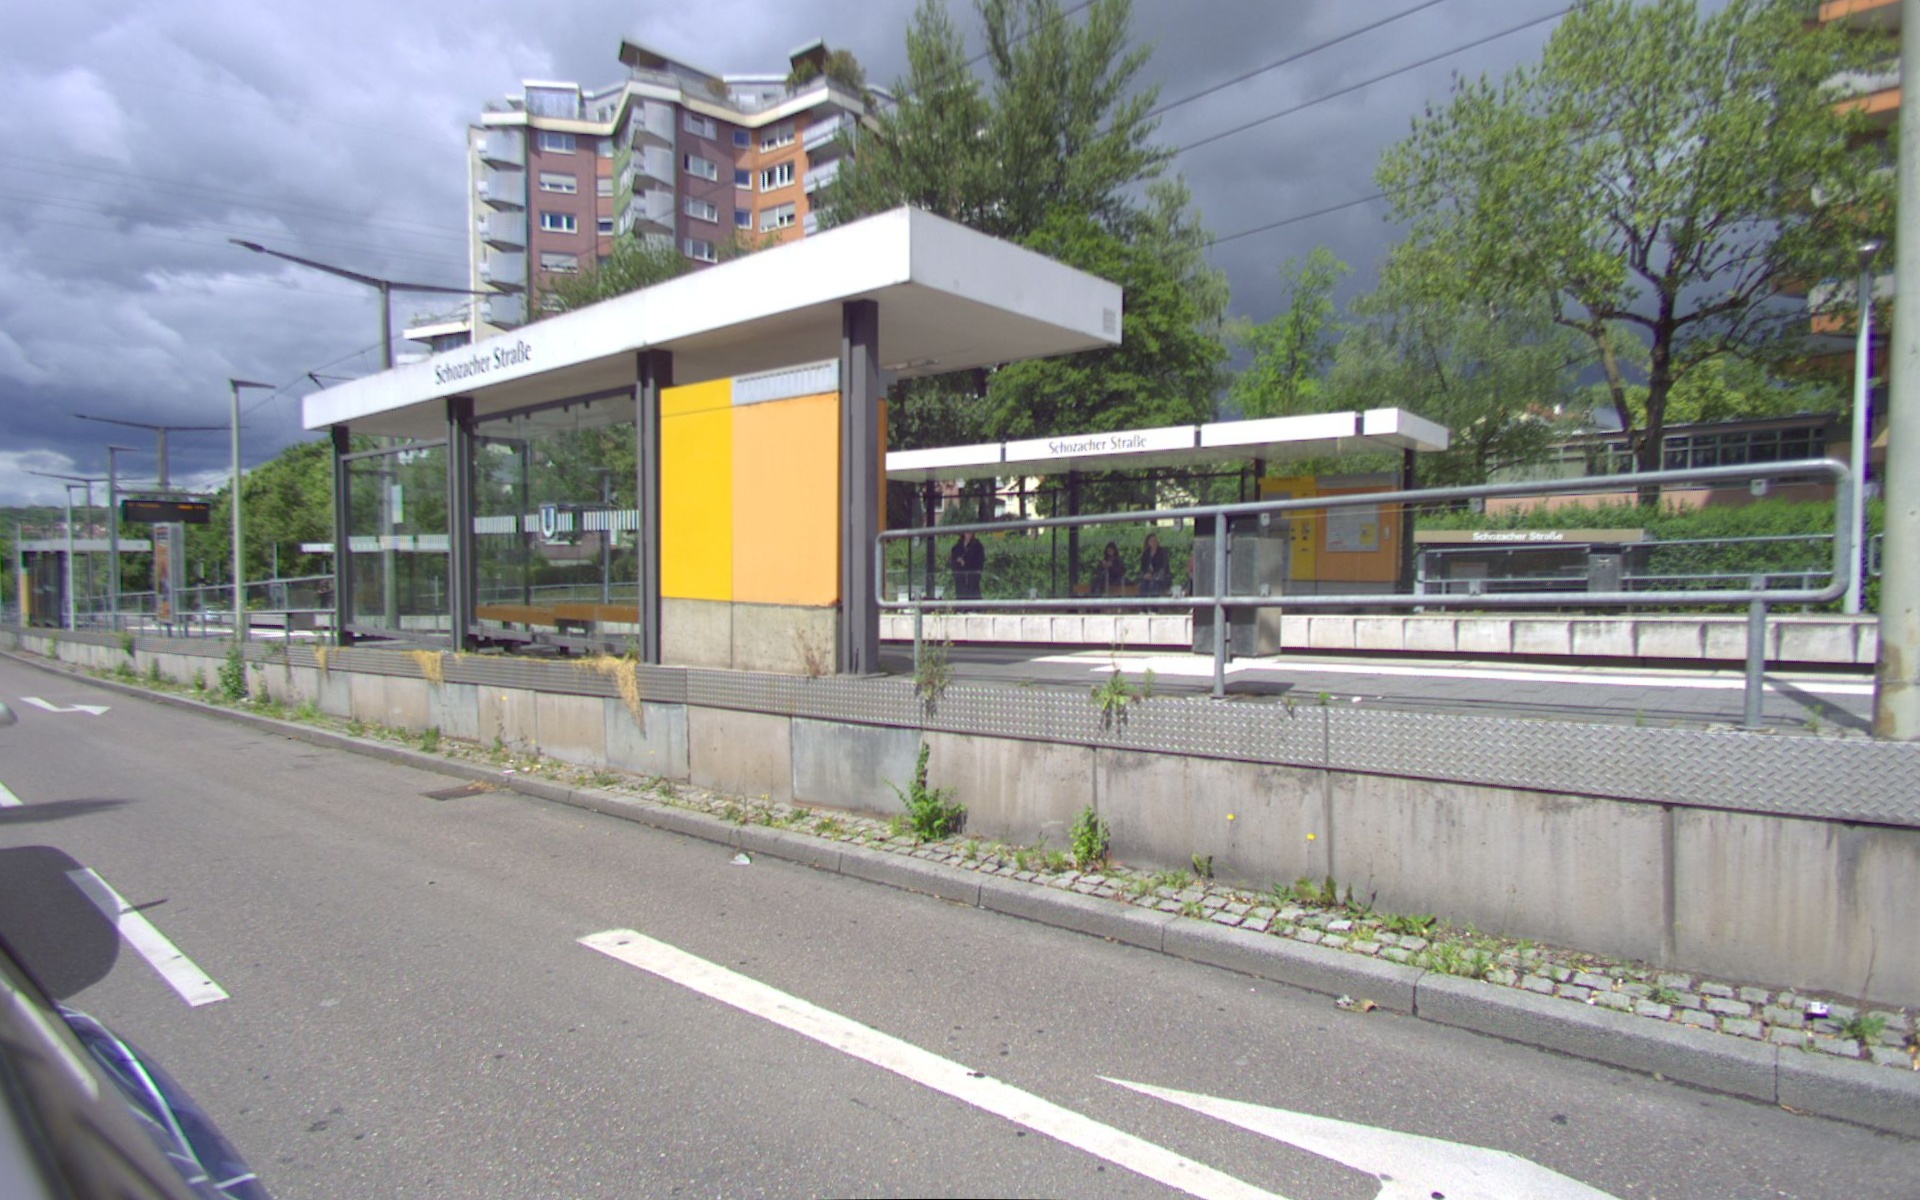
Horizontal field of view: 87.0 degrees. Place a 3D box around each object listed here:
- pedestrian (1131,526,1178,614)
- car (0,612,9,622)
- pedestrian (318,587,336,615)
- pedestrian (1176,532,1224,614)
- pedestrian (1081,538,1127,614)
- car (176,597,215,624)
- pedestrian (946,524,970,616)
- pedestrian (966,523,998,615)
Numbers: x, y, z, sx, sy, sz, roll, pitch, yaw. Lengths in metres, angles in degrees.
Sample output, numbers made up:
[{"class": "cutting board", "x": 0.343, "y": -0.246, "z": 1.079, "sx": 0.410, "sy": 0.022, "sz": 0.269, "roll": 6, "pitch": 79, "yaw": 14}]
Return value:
[{"class": "pedestrian", "x": 3.204, "y": -0.483, "z": 16.690, "sx": 0.463, "sy": 1.428, "sz": 0.704, "roll": -1, "pitch": 0, "yaw": 40}, {"class": "car", "x": -145.983, "y": 2.548, "z": 154.020, "sx": 3.709, "sy": 1.413, "sz": 1.621, "roll": 0, "pitch": 0, "yaw": 45}, {"class": "pedestrian", "x": -28.482, "y": 0.045, "z": 45.532, "sx": 0.528, "sy": 1.287, "sz": 0.563, "roll": -1, "pitch": 0, "yaw": -9}, {"class": "pedestrian", "x": 3.828, "y": -0.421, "z": 16.137, "sx": 0.463, "sy": 1.287, "sz": 0.704, "roll": -1, "pitch": 0, "yaw": 40}, {"class": "pedestrian", "x": 2.489, "y": -0.404, "z": 17.490, "sx": 0.463, "sy": 1.287, "sz": 0.704, "roll": -1, "pitch": 0, "yaw": 40}, {"class": "car", "x": -60.454, "y": 0.822, "z": 80.007, "sx": 4.000, "sy": 2.029, "sz": 1.714, "roll": -1, "pitch": 0, "yaw": 43}, {"class": "pedestrian", "x": -0.043, "y": -0.561, "z": 19.125, "sx": 0.421, "sy": 1.726, "sz": 0.353, "roll": -1, "pitch": 0, "yaw": 2}, {"class": "pedestrian", "x": 0.413, "y": -0.587, "z": 19.189, "sx": 0.544, "sy": 1.726, "sz": 0.386, "roll": -1, "pitch": 0, "yaw": -2}]
